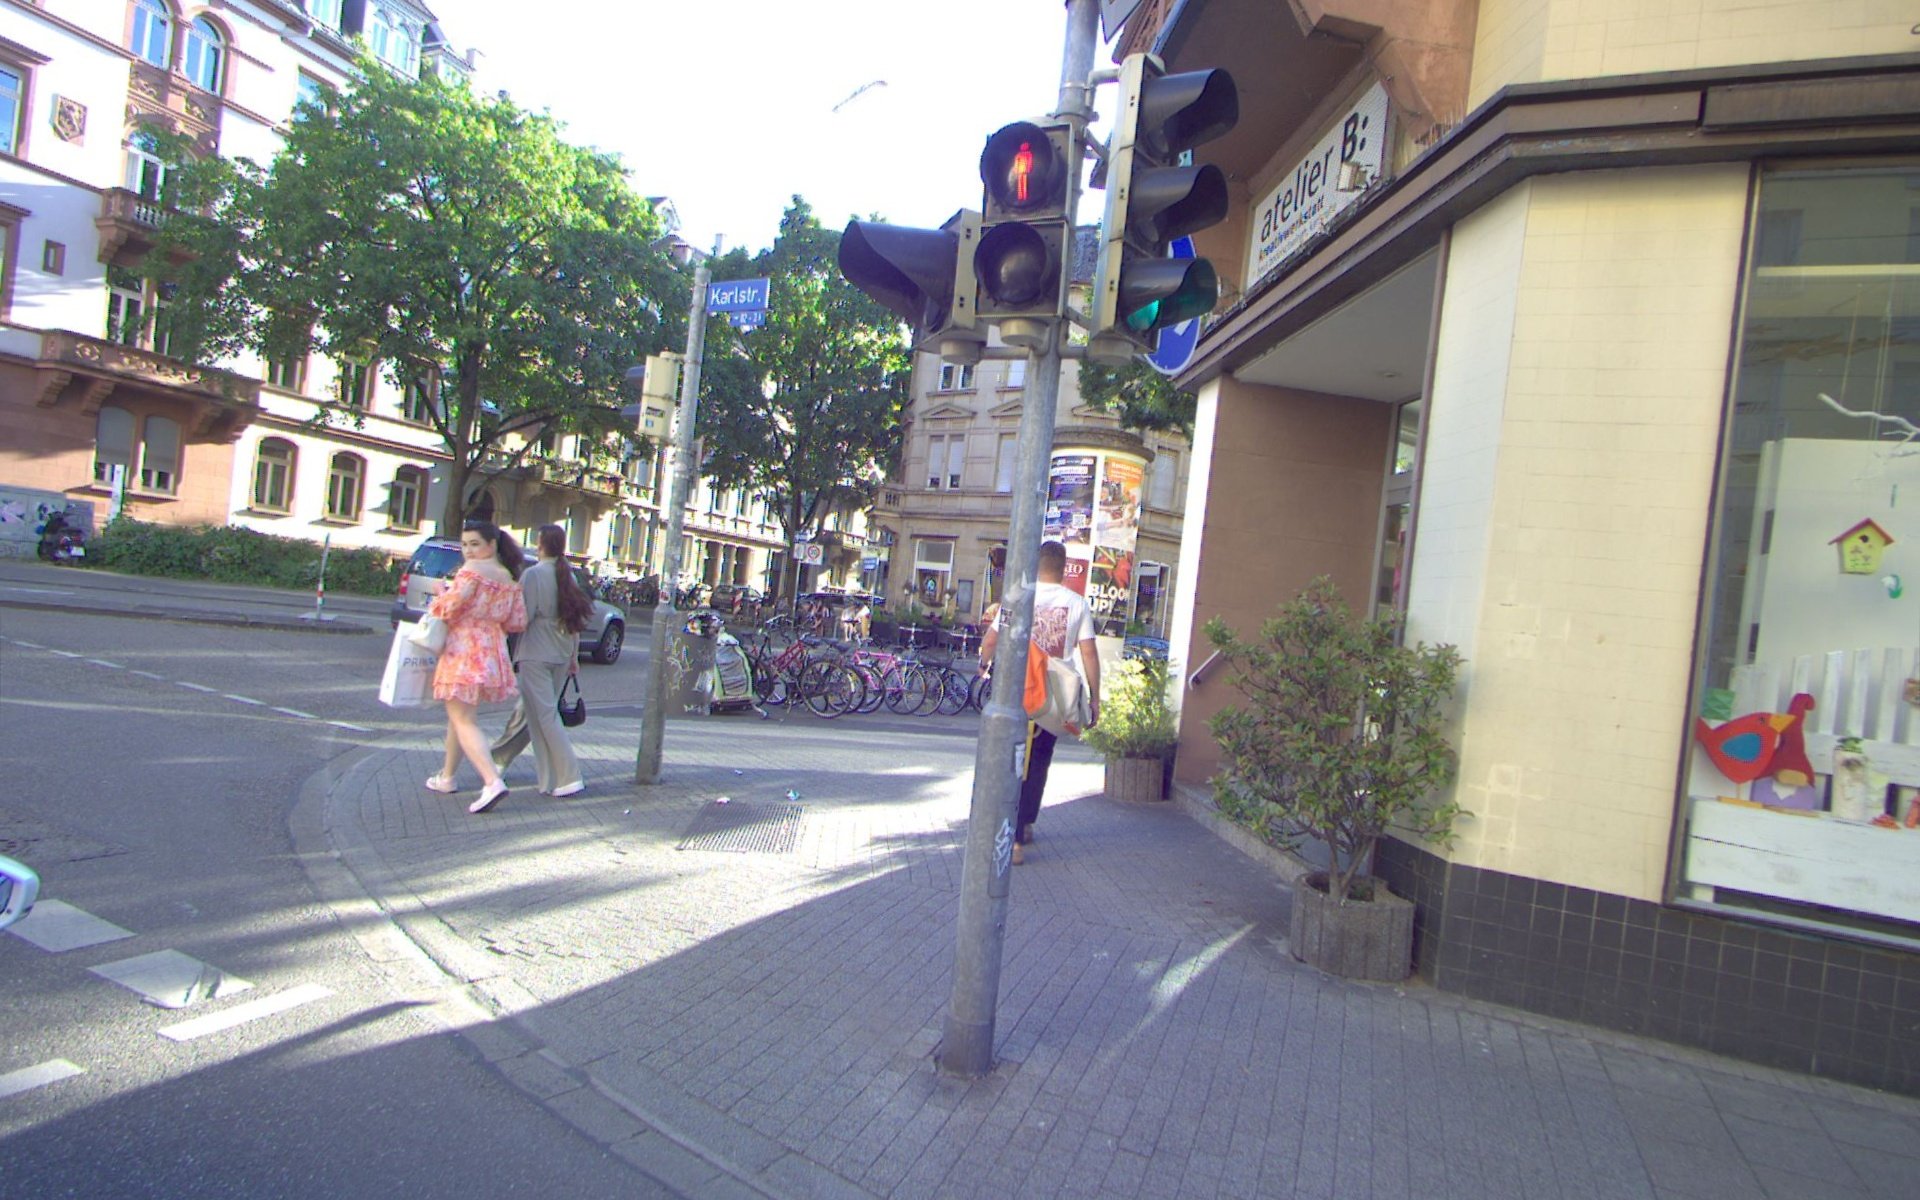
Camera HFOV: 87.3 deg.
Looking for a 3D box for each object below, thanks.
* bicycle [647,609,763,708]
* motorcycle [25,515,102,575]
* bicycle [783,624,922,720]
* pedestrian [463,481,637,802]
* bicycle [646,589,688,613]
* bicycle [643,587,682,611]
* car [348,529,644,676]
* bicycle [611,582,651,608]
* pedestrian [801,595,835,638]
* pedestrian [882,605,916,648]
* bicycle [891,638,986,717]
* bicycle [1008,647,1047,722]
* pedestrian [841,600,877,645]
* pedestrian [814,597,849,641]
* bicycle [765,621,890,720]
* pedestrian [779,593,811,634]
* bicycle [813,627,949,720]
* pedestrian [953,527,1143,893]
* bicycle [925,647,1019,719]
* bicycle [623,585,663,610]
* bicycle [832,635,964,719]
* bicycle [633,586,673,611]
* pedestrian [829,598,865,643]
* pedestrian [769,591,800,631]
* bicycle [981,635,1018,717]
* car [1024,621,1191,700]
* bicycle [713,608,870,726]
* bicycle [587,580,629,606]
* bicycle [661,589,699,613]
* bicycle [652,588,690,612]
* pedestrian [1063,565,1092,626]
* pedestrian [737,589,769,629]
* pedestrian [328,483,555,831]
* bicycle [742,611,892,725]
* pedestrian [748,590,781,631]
[{"bbox_3d":[-3.053,0.702,12.052,1.046,1.057,0.778,5,-1,33],"label":"bicycle"},{"bbox_3d":[-20.029,-1.235,22.465,2.250,1.033,0.719,9,2,35],"label":"motorcycle"},{"bbox_3d":[-1.495,0.969,13.821,1.887,1.112,0.450,5,0,28],"label":"bicycle"},{"bbox_3d":[-2.657,0.252,6.566,0.657,1.934,0.692,5,2,15],"label":"pedestrian"},{"bbox_3d":[-12.983,0.050,44.641,0.486,0.904,1.791,7,0,38],"label":"bicycle"},{"bbox_3d":[-13.673,-0.031,46.251,1.765,0.904,0.493,7,0,26],"label":"bicycle"},{"bbox_3d":[-6.619,0.074,14.934,1.962,1.638,4.002,7,0,8],"label":"car"},{"bbox_3d":[-14.416,-0.220,44.059,1.765,0.904,0.493,7,0,26],"label":"bicycle"},{"bbox_3d":[-5.076,0.585,35.981,0.905,1.448,0.758,2,3,-34],"label":"pedestrian"},{"bbox_3d":[-2.175,0.938,35.573,0.758,1.448,0.906,2,3,-36],"label":"pedestrian"},{"bbox_3d":[-0.339,1.171,15.368,1.383,1.055,0.449,5,0,36],"label":"bicycle"},{"bbox_3d":[1.076,1.338,16.276,0.442,1.099,1.405,5,-1,0],"label":"bicycle"},{"bbox_3d":[-3.373,0.748,33.585,0.905,1.448,0.759,2,3,-33],"label":"pedestrian"},{"bbox_3d":[-4.490,0.657,35.140,0.905,1.448,0.759,2,3,-33],"label":"pedestrian"},{"bbox_3d":[-1.772,0.920,13.384,1.583,1.125,0.450,5,0,27],"label":"bicycle"},{"bbox_3d":[-6.220,0.499,37.867,0.905,1.448,0.759,2,3,-33],"label":"pedestrian"},{"bbox_3d":[-1.137,1.023,14.300,1.887,1.112,0.450,5,0,28],"label":"bicycle"},{"bbox_3d":[0.442,0.546,5.701,0.793,1.825,1.089,5,4,-1],"label":"pedestrian"},{"bbox_3d":[0.178,1.290,15.789,1.383,0.961,0.449,5,0,36],"label":"bicycle"},{"bbox_3d":[-14.173,-0.119,44.995,1.765,0.904,0.493,7,0,26],"label":"bicycle"},{"bbox_3d":[-0.920,1.109,14.715,1.887,1.012,0.450,5,0,28],"label":"bicycle"},{"bbox_3d":[-13.930,-0.077,45.627,1.765,0.904,0.493,7,0,26],"label":"bicycle"},{"bbox_3d":[-3.855,0.708,34.220,0.905,1.448,0.758,2,3,-34],"label":"pedestrian"},{"bbox_3d":[-6.788,0.423,38.864,0.905,1.448,0.758,2,3,-34],"label":"pedestrian"},{"bbox_3d":[0.639,1.223,16.543,0.442,1.238,1.405,5,-1,0],"label":"bicycle"},{"bbox_3d":[3.912,1.614,26.656,3.950,1.593,1.793,7,0,-25],"label":"car"},{"bbox_3d":[-2.094,0.800,12.393,1.887,1.238,0.505,5,0,27],"label":"bicycle"},{"bbox_3d":[-14.930,-0.316,42.635,1.765,0.904,0.493,7,0,26],"label":"bicycle"},{"bbox_3d":[-13.196,0.051,47.343,1.765,0.904,0.493,7,0,26],"label":"bicycle"},{"bbox_3d":[-13.434,0.008,46.730,1.765,0.904,0.493,7,0,26],"label":"bicycle"},{"bbox_3d":[3.999,-0.153,34.294,0.725,1.990,0.730,7,1,5],"label":"pedestrian"},{"bbox_3d":[-7.865,0.340,38.190,0.905,1.448,0.758,2,3,-34],"label":"pedestrian"},{"bbox_3d":[-3.012,0.295,5.880,0.747,1.825,0.806,7,5,20],"label":"pedestrian"},{"bbox_3d":[-1.842,0.841,12.848,1.887,1.238,0.450,5,0,28],"label":"bicycle"},{"bbox_3d":[-7.260,0.390,37.360,0.905,1.448,0.759,2,3,-33],"label":"pedestrian"}]
